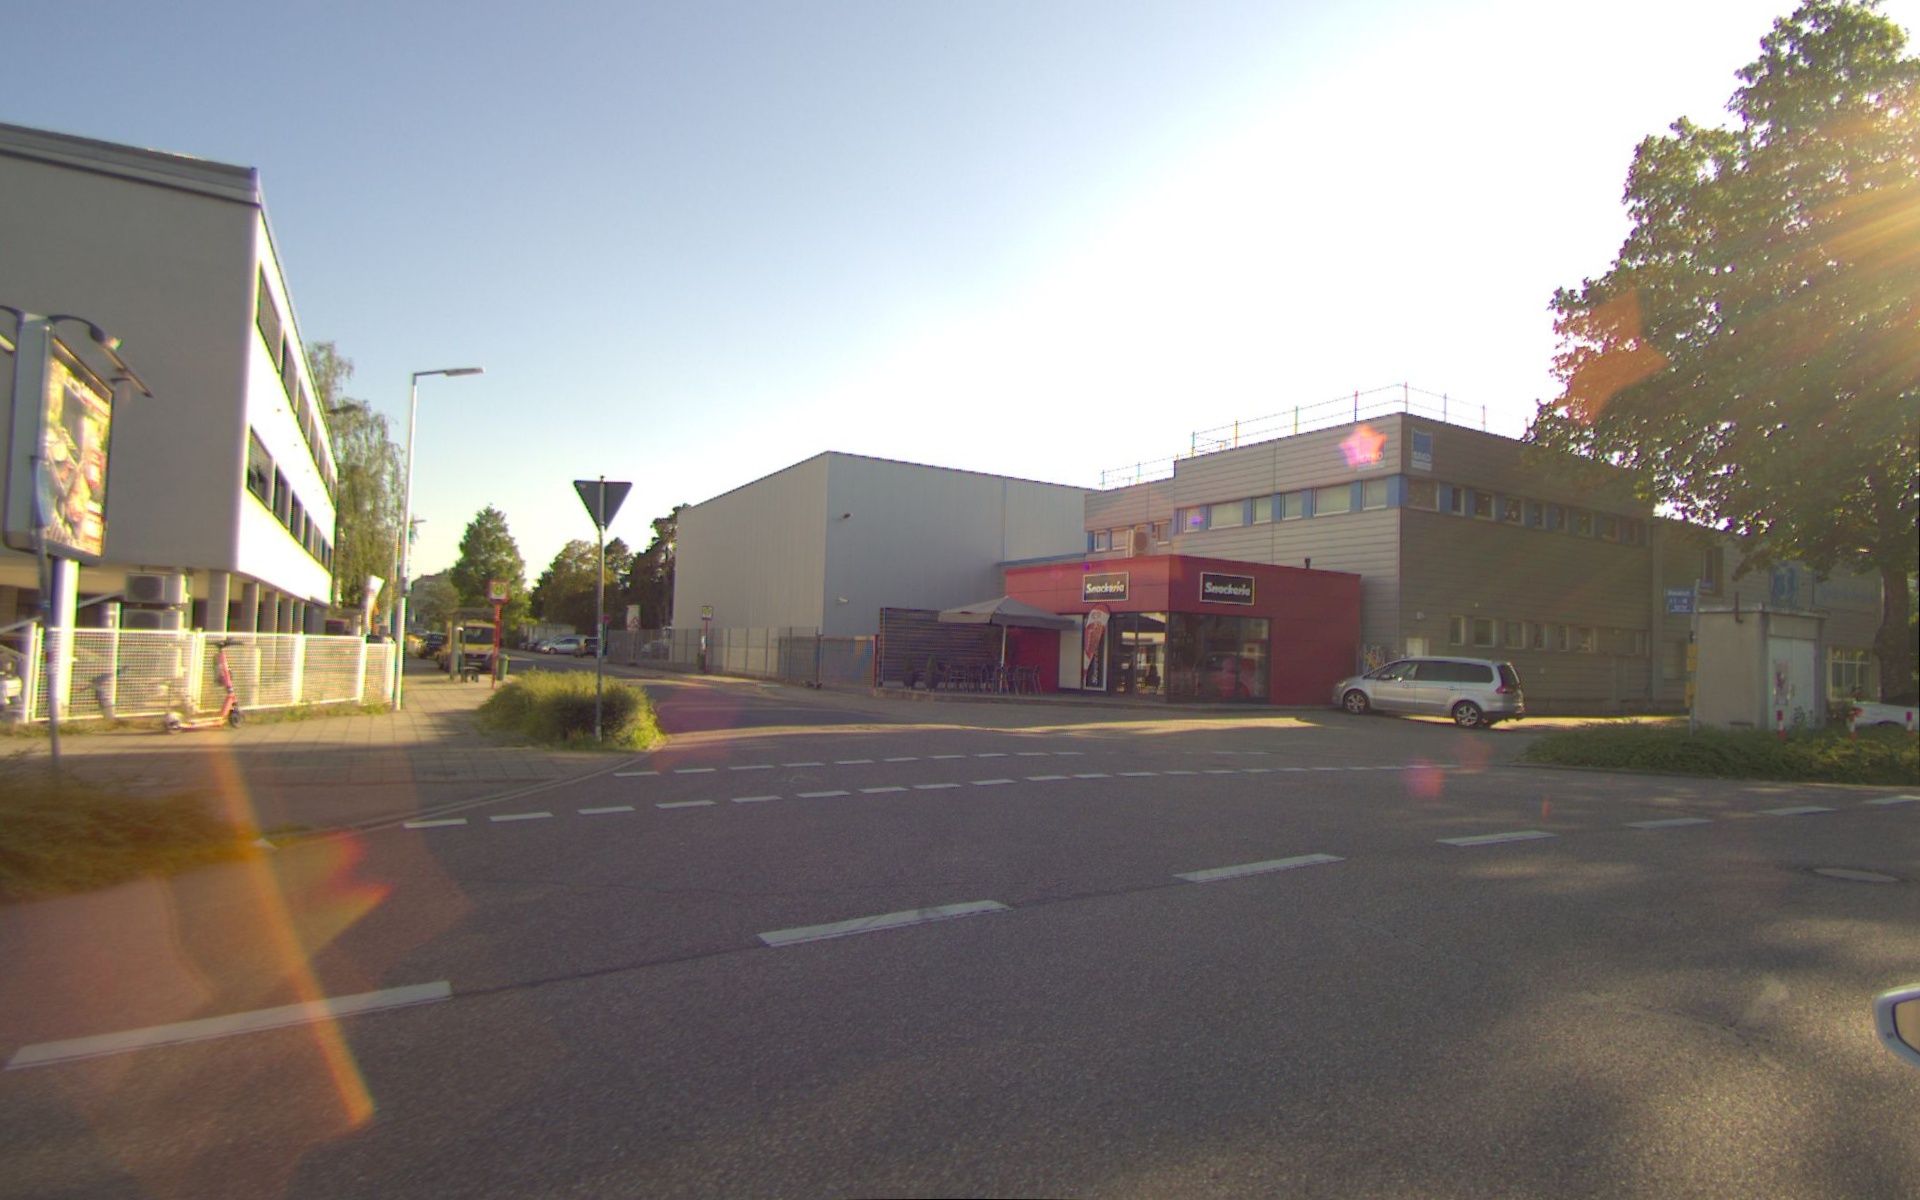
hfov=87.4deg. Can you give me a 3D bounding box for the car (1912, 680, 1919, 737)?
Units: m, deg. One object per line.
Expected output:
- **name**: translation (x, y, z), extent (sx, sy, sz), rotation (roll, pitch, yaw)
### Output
- **car**: translation (27.991, 2.991, 26.080), extent (1.978, 1.537, 4.392), rotation (3, -2, -31)

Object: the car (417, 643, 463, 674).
- **car**: translation (-33.468, 3.733, 64.588), extent (2.071, 1.795, 4.915), rotation (3, -2, -33)

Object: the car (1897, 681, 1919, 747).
- **car**: translation (24.634, 2.758, 22.924), extent (1.978, 1.537, 4.392), rotation (3, -2, -31)

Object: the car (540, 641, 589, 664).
- **car**: translation (-36.983, 4.886, 93.942), extent (3.955, 2.040, 1.983), rotation (3, -2, -31)

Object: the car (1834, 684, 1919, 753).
- **car**: translation (22.327, 2.704, 22.072), extent (1.980, 1.421, 4.386), rotation (3, -2, -35)

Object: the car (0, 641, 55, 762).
- **car**: translation (-15.276, 1.411, 13.489), extent (4.289, 1.598, 1.984), rotation (0, 0, -31)

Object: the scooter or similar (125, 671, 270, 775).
- **scooter or similar**: translation (-9.952, 1.571, 13.170), extent (0.613, 1.216, 1.390), rotation (2, -2, 13)

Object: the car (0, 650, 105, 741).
- **car**: translation (-19.489, 1.825, 19.551), extent (3.954, 1.639, 1.984), rotation (3, -2, -30)

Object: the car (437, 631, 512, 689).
- **car**: translation (-21.257, 2.565, 43.851), extent (2.220, 2.291, 5.027), rotation (3, -2, -33)

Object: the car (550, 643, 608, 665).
- **car**: translation (-30.934, 4.371, 81.560), extent (3.962, 1.672, 1.980), rotation (3, -2, -36)

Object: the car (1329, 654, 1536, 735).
- **car**: translation (12.433, 2.413, 26.634), extent (4.581, 1.764, 1.988), rotation (0, -2, 44)
